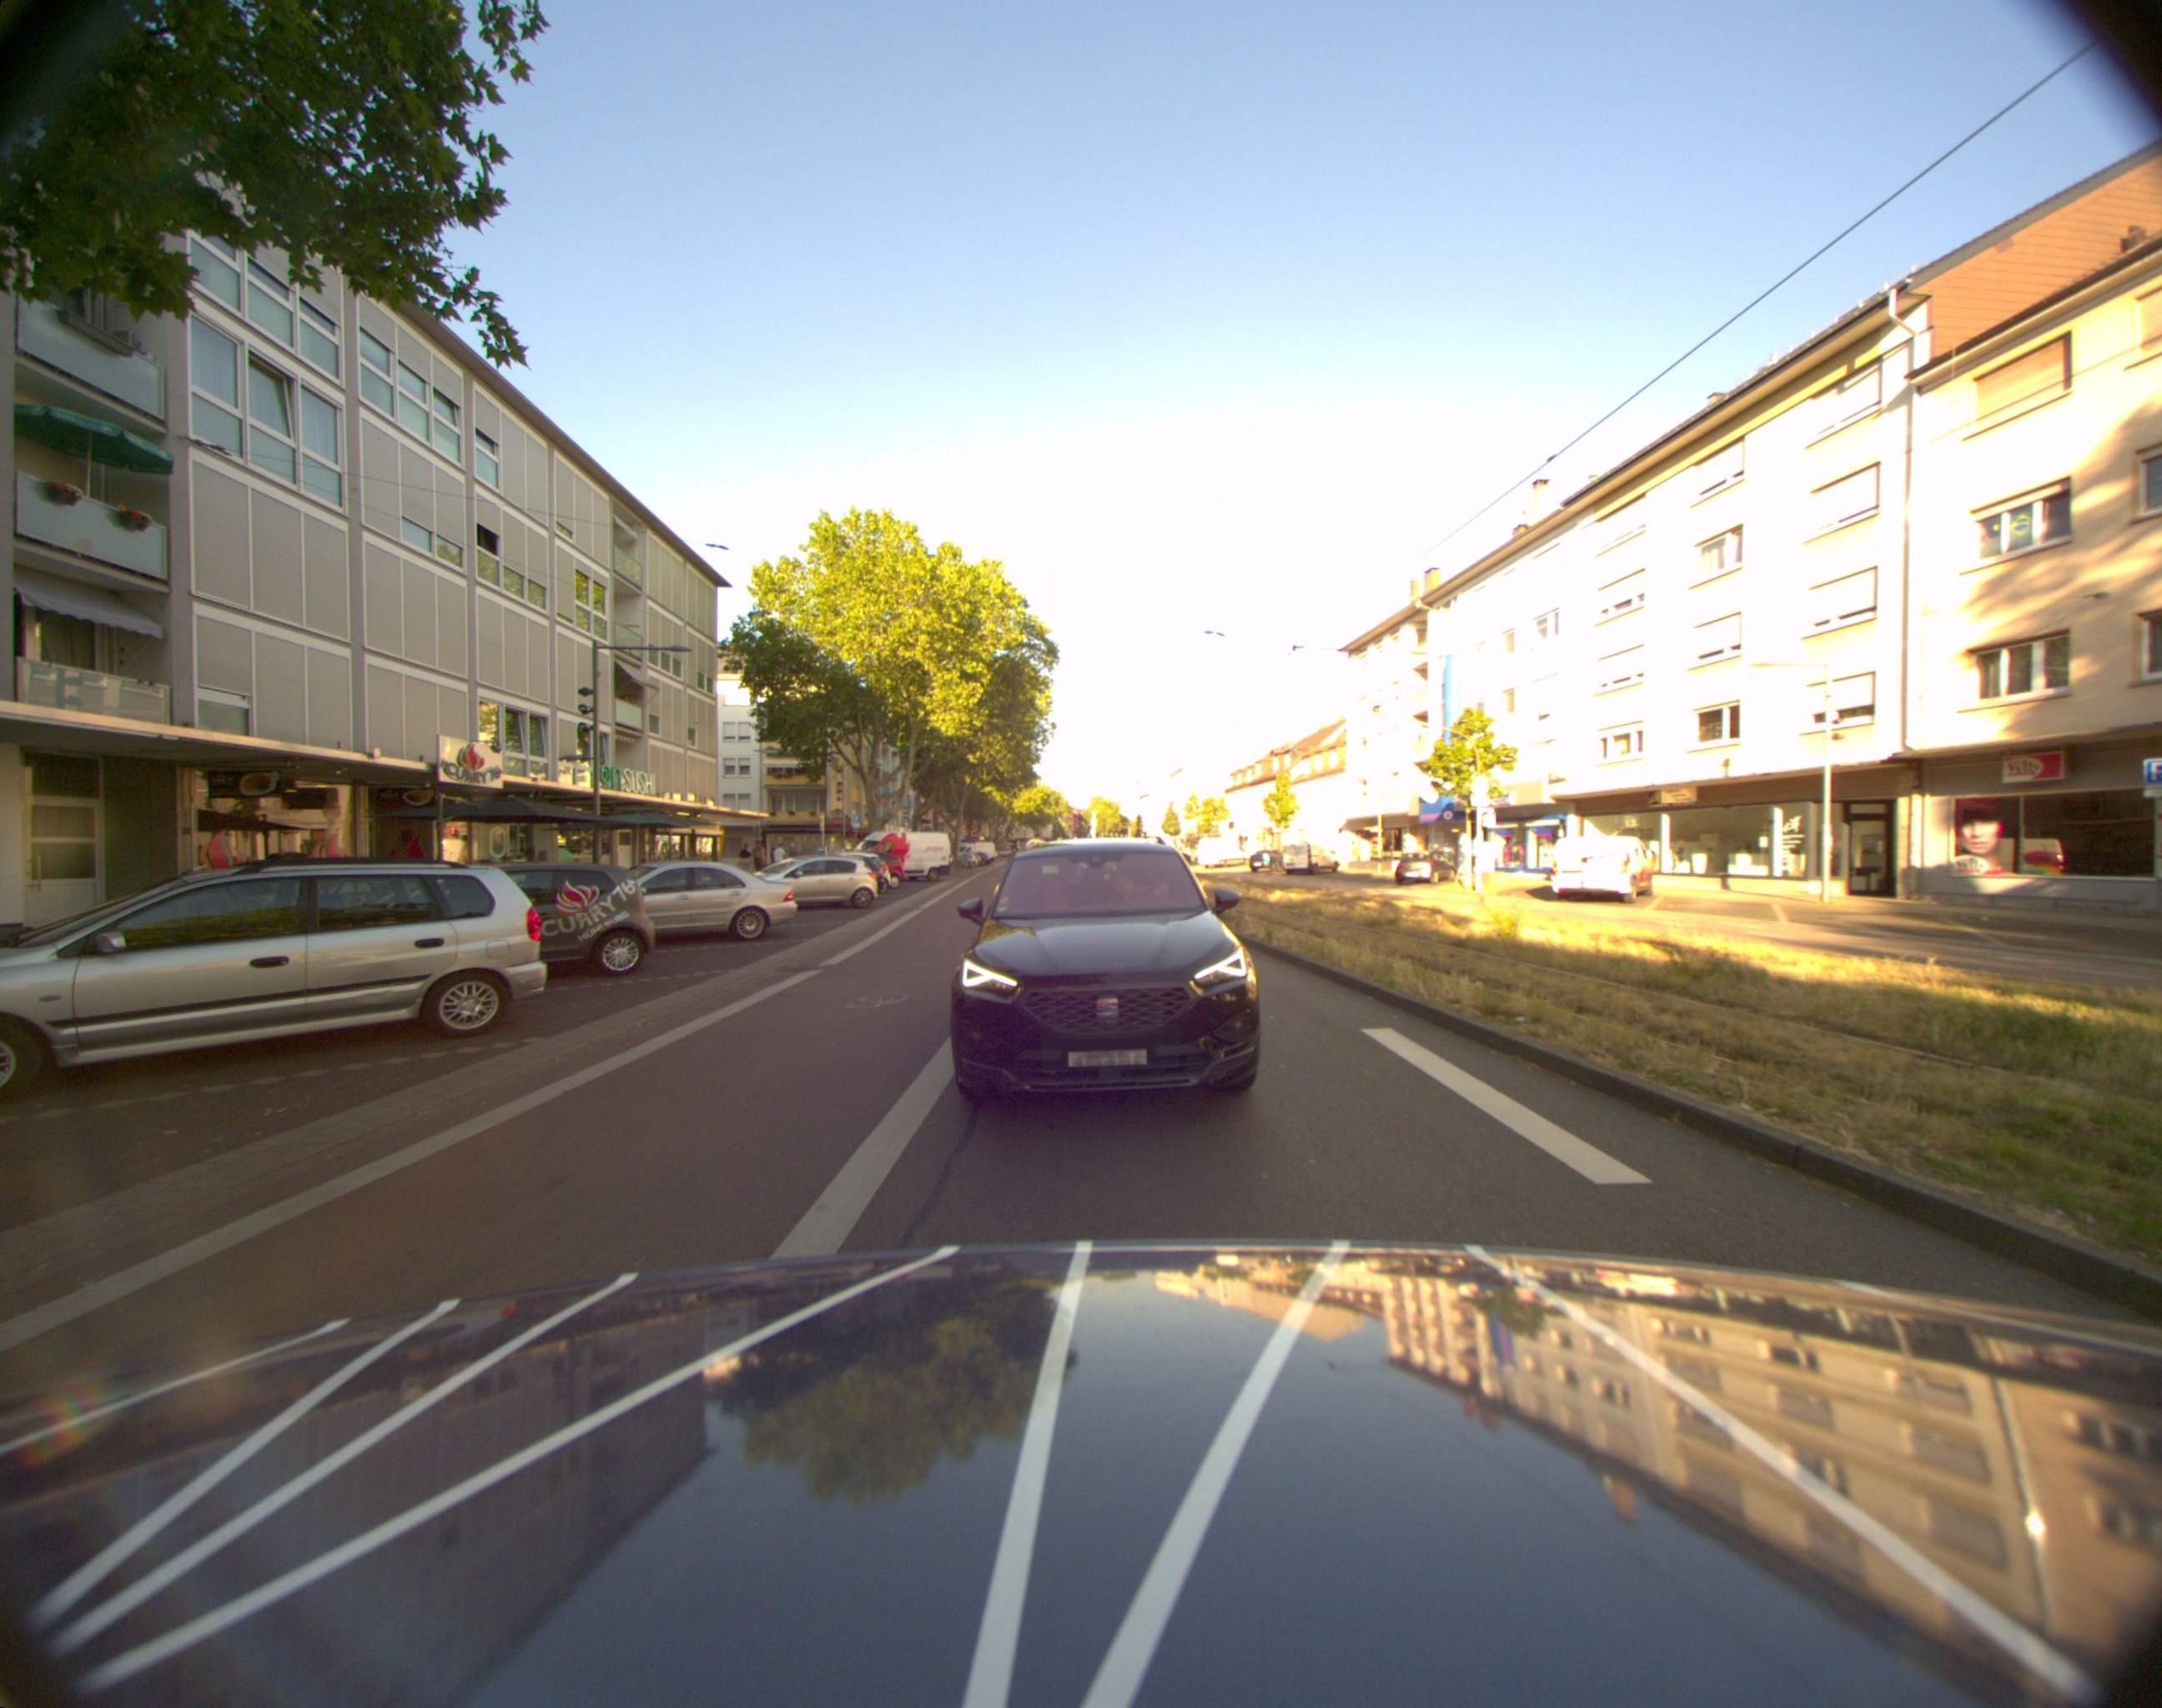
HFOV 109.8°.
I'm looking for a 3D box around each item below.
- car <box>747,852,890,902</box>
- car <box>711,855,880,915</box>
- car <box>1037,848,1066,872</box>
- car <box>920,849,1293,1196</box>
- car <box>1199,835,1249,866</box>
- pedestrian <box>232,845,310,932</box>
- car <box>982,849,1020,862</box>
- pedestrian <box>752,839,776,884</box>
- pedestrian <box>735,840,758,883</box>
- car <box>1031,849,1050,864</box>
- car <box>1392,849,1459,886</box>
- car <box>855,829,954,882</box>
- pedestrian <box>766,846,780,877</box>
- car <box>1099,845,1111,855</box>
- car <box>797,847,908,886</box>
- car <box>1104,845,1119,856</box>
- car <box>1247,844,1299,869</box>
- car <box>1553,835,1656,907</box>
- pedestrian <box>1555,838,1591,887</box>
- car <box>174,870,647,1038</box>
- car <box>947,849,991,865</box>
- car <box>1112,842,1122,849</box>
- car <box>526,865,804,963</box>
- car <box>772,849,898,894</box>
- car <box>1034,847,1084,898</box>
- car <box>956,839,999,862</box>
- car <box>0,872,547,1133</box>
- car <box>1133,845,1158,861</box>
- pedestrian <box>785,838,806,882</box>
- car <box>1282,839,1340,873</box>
[{"bbox_3d":[-8.278,0.719,24.034,3.949,1.420,1.672,1,1,-34],"label":"car"},{"bbox_3d":[-7.599,0.787,20.485,3.950,1.420,1.555,1,1,-45],"label":"car"},{"bbox_3d":[-1.874,0.348,49.987,1.729,1.467,3.999,-2,1,-1],"label":"car"},{"bbox_3d":[0.164,0.828,5.763,1.784,1.639,3.999,-2,1,1],"label":"car"},{"bbox_3d":[12.992,-0.384,68.630,1.922,2.599,6.601,-1,1,34],"label":"car"},{"bbox_3d":[-15.062,0.626,14.154,0.583,1.573,0.771,0,1,2],"label":"pedestrian"},{"bbox_3d":[-8.711,0.148,82.740,1.778,1.326,3.943,0,1,44],"label":"car"},{"bbox_3d":[-14.227,0.332,34.106,0.748,2.002,0.764,0,1,-4],"label":"pedestrian"},{"bbox_3d":[-15.080,0.332,34.274,0.748,1.964,0.575,0,1,-4],"label":"pedestrian"},{"bbox_3d":[-4.178,0.248,78.507,1.729,1.443,4.227,-2,1,-1],"label":"car"},{"bbox_3d":[15.444,0.567,33.947,1.731,1.489,4.008,-1,1,40],"label":"car"},{"bbox_3d":[-8.725,0.071,37.867,4.606,2.479,1.672,0,0,-44],"label":"car"},{"bbox_3d":[-16.312,0.401,40.266,0.537,1.630,0.478,0,1,-4],"label":"pedestrian"},{"bbox_3d":[4.820,-0.786,152.780,1.906,2.002,3.998,0,1,-5],"label":"car"},{"bbox_3d":[-9.162,0.510,30.569,3.948,1.421,1.672,1,2,-32],"label":"car"},{"bbox_3d":[4.847,-0.562,120.776,1.999,1.783,3.998,0,1,-4],"label":"car"},{"bbox_3d":[13.825,0.171,54.675,3.922,1.704,1.853,-3,1,-45],"label":"car"},{"bbox_3d":[15.607,0.434,22.583,1.853,1.888,4.007,-1,2,44],"label":"car"},{"bbox_3d":[18.685,0.300,28.878,0.757,1.817,0.917,-1,1,-1],"label":"pedestrian"},{"bbox_3d":[-7.620,0.956,9.000,1.672,1.420,3.950,2,1,38],"label":"car"},{"bbox_3d":[-10.747,0.267,72.981,1.778,1.396,3.943,1,1,44],"label":"car"},{"bbox_3d":[9.896,-2.271,208.869,2.498,1.871,5.273,0,1,1],"label":"car"},{"bbox_3d":[-7.132,0.923,13.338,1.592,1.393,3.950,2,1,41],"label":"car"},{"bbox_3d":[-8.814,0.633,27.308,3.948,1.421,1.672,2,2,-32],"label":"car"},{"bbox_3d":[-0.763,0.600,27.711,1.646,1.646,3.999,-2,1,-1],"label":"car"},{"bbox_3d":[-11.551,-0.427,85.029,1.973,2.454,4.605,1,1,44],"label":"car"},{"bbox_3d":[-6.863,0.970,6.009,1.672,1.533,3.993,2,1,38],"label":"car"},{"bbox_3d":[6.726,-0.152,79.218,1.846,1.571,4.448,0,1,-5],"label":"car"},{"bbox_3d":[-13.300,0.270,35.433,0.748,2.002,0.559,0,1,-4],"label":"pedestrian"},{"bbox_3d":[14.517,0.093,47.802,1.853,1.927,4.513,-1,1,40],"label":"car"}]
